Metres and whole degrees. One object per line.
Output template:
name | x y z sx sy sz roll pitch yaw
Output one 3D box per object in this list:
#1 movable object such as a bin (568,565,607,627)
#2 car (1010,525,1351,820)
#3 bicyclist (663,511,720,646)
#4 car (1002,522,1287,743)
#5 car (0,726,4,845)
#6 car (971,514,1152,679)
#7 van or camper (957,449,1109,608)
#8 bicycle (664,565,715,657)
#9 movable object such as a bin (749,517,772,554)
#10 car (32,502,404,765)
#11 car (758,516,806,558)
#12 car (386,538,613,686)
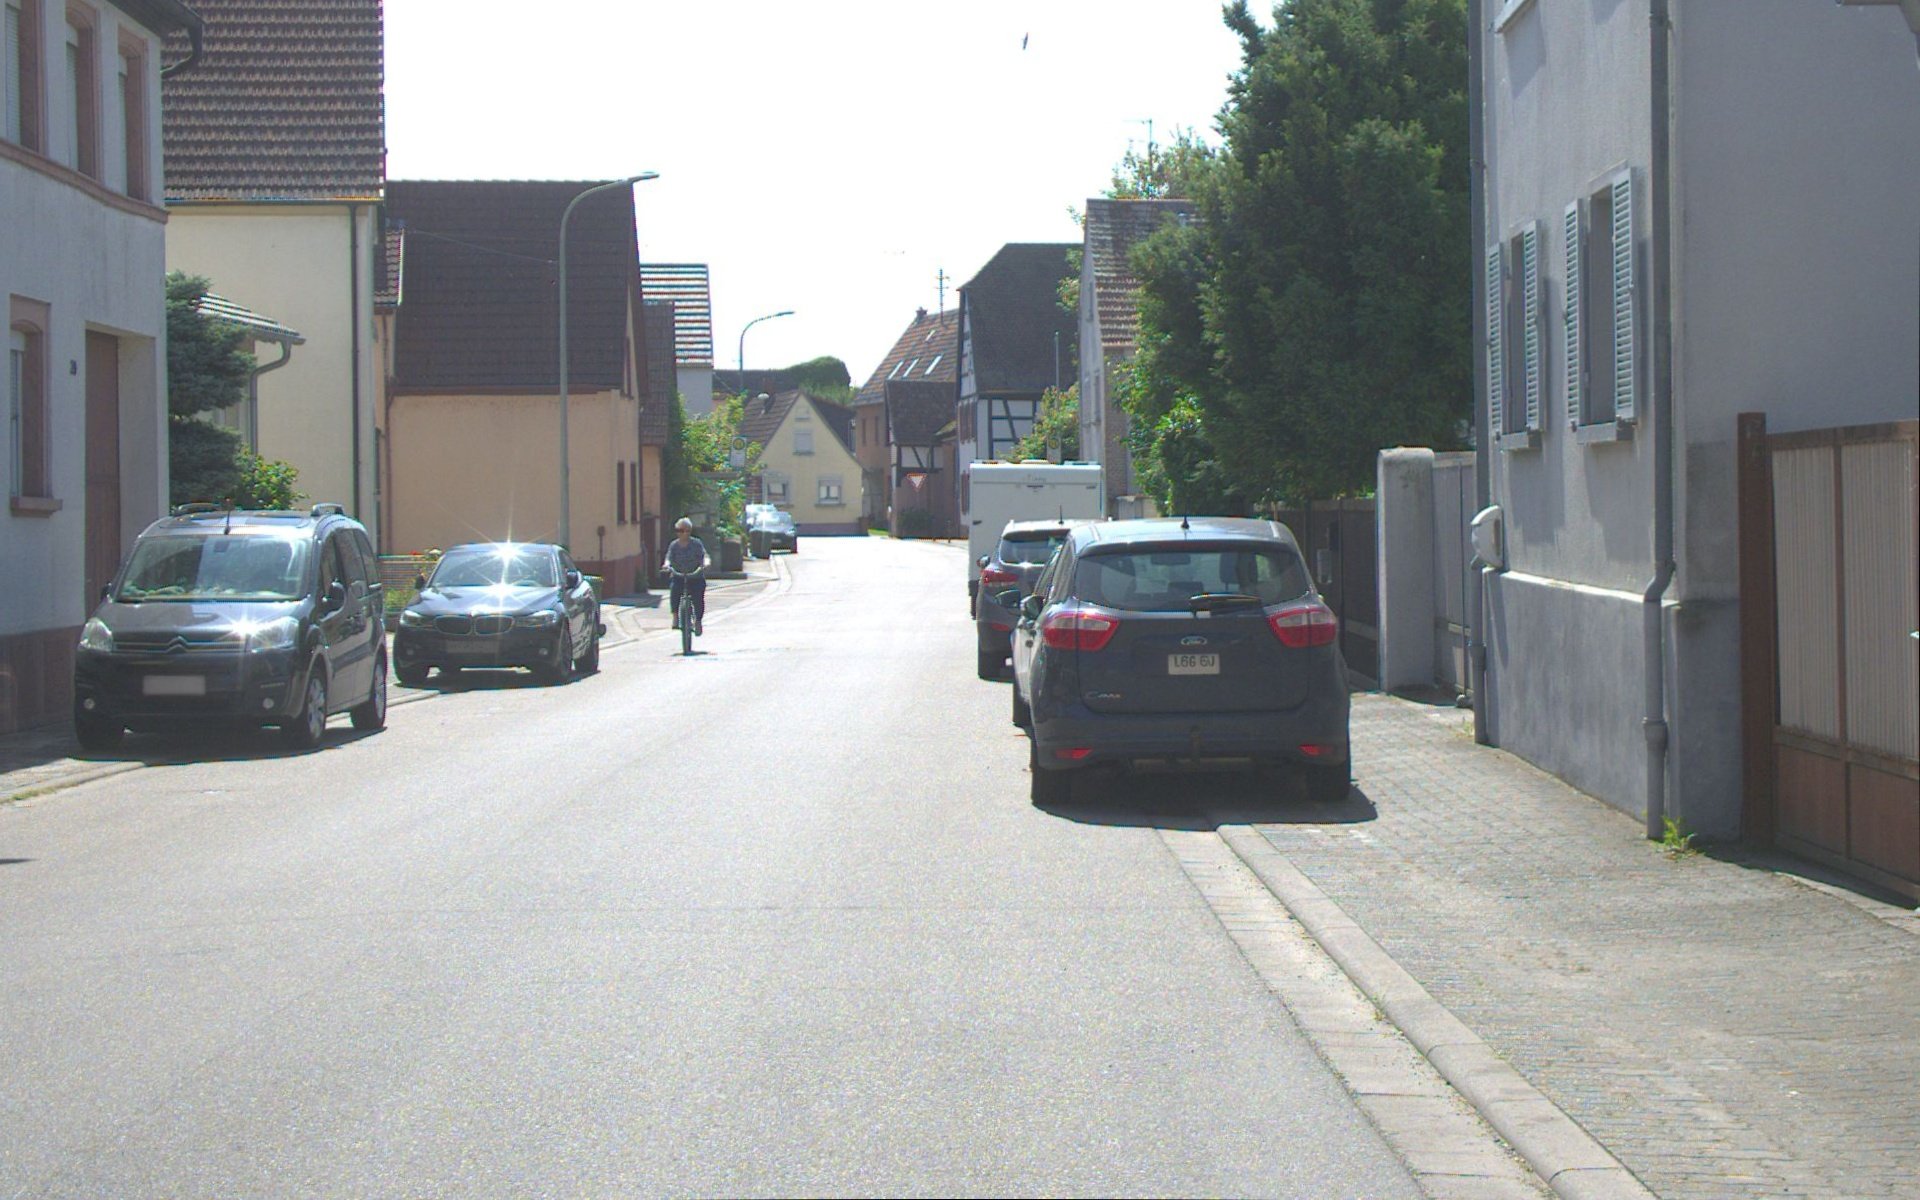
movable object such as a bin | -5.800 -0.063 53.524 0.539 0.946 0.553 0 1 0
car | 1.217 0.338 20.748 1.797 1.555 4.631 -1 1 1
bicyclist | -3.559 -0.289 45.615 0.703 1.765 0.625 -1 1 -3
car | 1.305 0.170 26.100 1.819 1.503 4.582 -1 1 -1
car | -5.652 0.576 15.189 1.834 1.459 4.271 -2 1 -3
car | 1.156 -0.091 37.218 1.794 1.625 4.360 -1 2 3
van or camper | 1.253 -1.282 61.190 2.521 2.687 4.556 -1 1 -1
bicycle | -3.565 0.135 45.401 0.589 1.144 1.949 -2 1 -3
movable object such as a bin | -6.493 -2.091 112.064 0.688 1.181 0.714 -2 1 0
car | -5.629 0.182 26.633 1.834 1.831 4.354 -1 1 1
car | -6.353 -2.254 123.093 1.511 1.431 3.511 -2 1 0
car | -5.099 0.083 38.652 1.844 1.521 4.765 0 1 1
